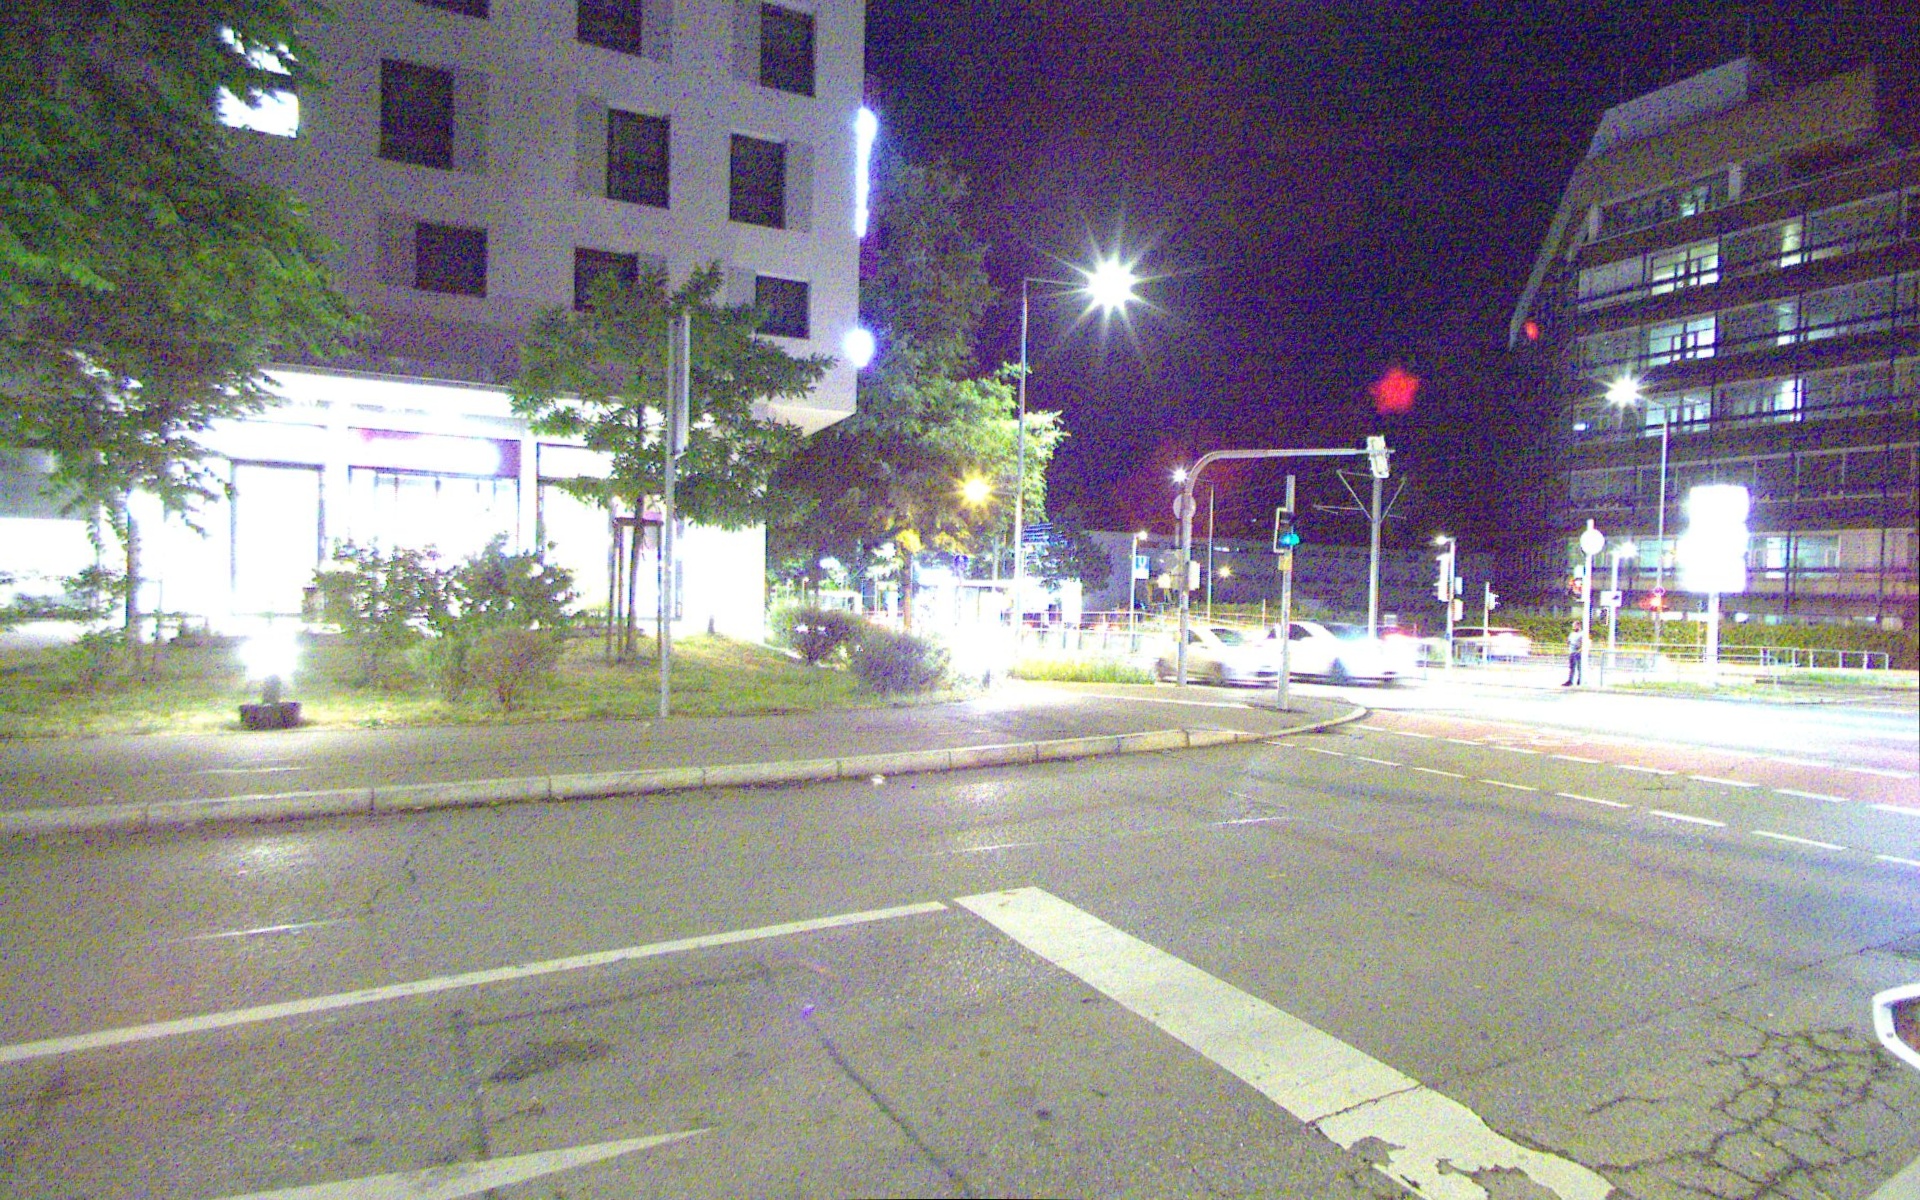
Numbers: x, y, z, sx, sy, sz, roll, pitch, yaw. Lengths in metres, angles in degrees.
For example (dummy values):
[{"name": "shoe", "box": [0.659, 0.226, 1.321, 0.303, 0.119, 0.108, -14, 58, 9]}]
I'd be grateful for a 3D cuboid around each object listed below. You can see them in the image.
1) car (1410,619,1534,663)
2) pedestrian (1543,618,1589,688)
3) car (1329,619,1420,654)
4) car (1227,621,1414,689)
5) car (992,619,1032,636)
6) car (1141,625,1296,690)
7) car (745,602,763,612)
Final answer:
[{"name": "car", "box": [21.965, 1.708, 43.269, 1.823, 1.606, 4.552, 0, 1, -27]}, {"name": "pedestrian", "box": [15.628, 1.346, 25.901, 0.693, 1.745, 0.679, 2, 0, -4]}, {"name": "car", "box": [21.298, 1.838, 51.802, 1.779, 1.606, 4.221, 3, -1, -25]}, {"name": "car", "box": [9.416, 1.381, 26.695, 1.722, 1.620, 4.905, 1, -1, -26]}, {"name": "car", "box": [4.510, 2.378, 88.142, 1.818, 1.443, 4.047, -1, 0, -26]}, {"name": "car", "box": [6.477, 1.406, 25.572, 1.722, 1.456, 3.889, 1, -1, -26]}, {"name": "car", "box": [-33.460, 1.143, 162.936, 1.845, 1.506, 3.822, 3, 0, -26]}]
